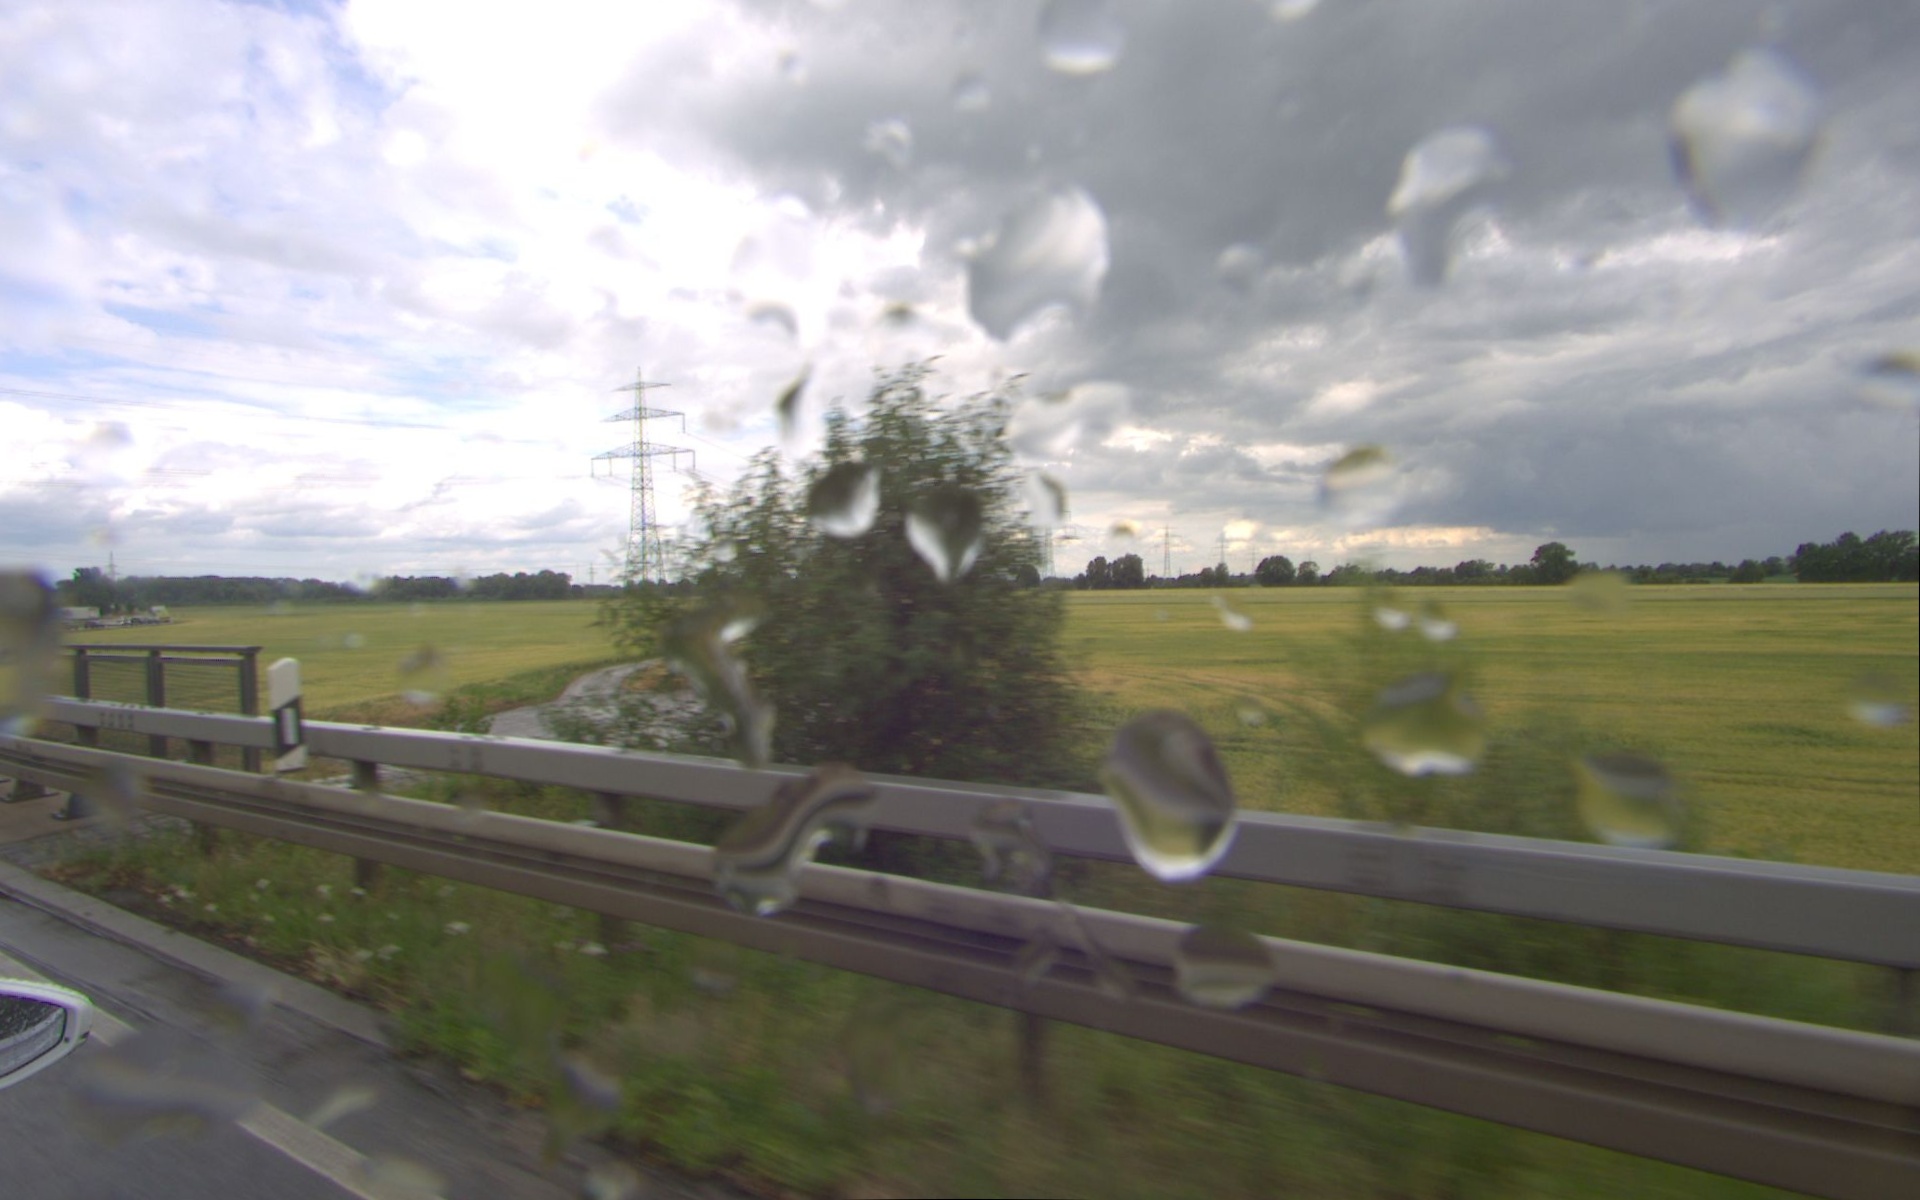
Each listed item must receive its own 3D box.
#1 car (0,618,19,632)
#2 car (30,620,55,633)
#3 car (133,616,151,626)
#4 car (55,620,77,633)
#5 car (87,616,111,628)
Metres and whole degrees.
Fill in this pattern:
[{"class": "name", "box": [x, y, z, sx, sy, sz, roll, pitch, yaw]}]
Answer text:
[{"class": "car", "box": [-143.082, 3.779, 150.198, 1.971, 2.039, 3.982, 0, -2, -29]}, {"class": "car", "box": [-149.412, 4.257, 163.070, 2.201, 2.039, 3.981, 0, -2, -30]}, {"class": "car", "box": [-165.083, 4.247, 202.103, 1.738, 2.040, 3.988, 0, 0, -22]}, {"class": "car", "box": [-152.643, 4.542, 171.034, 1.971, 2.039, 3.981, 0, -2, -30]}, {"class": "car", "box": [-156.253, 4.049, 181.702, 1.966, 2.039, 3.991, 0, -2, -21]}]
